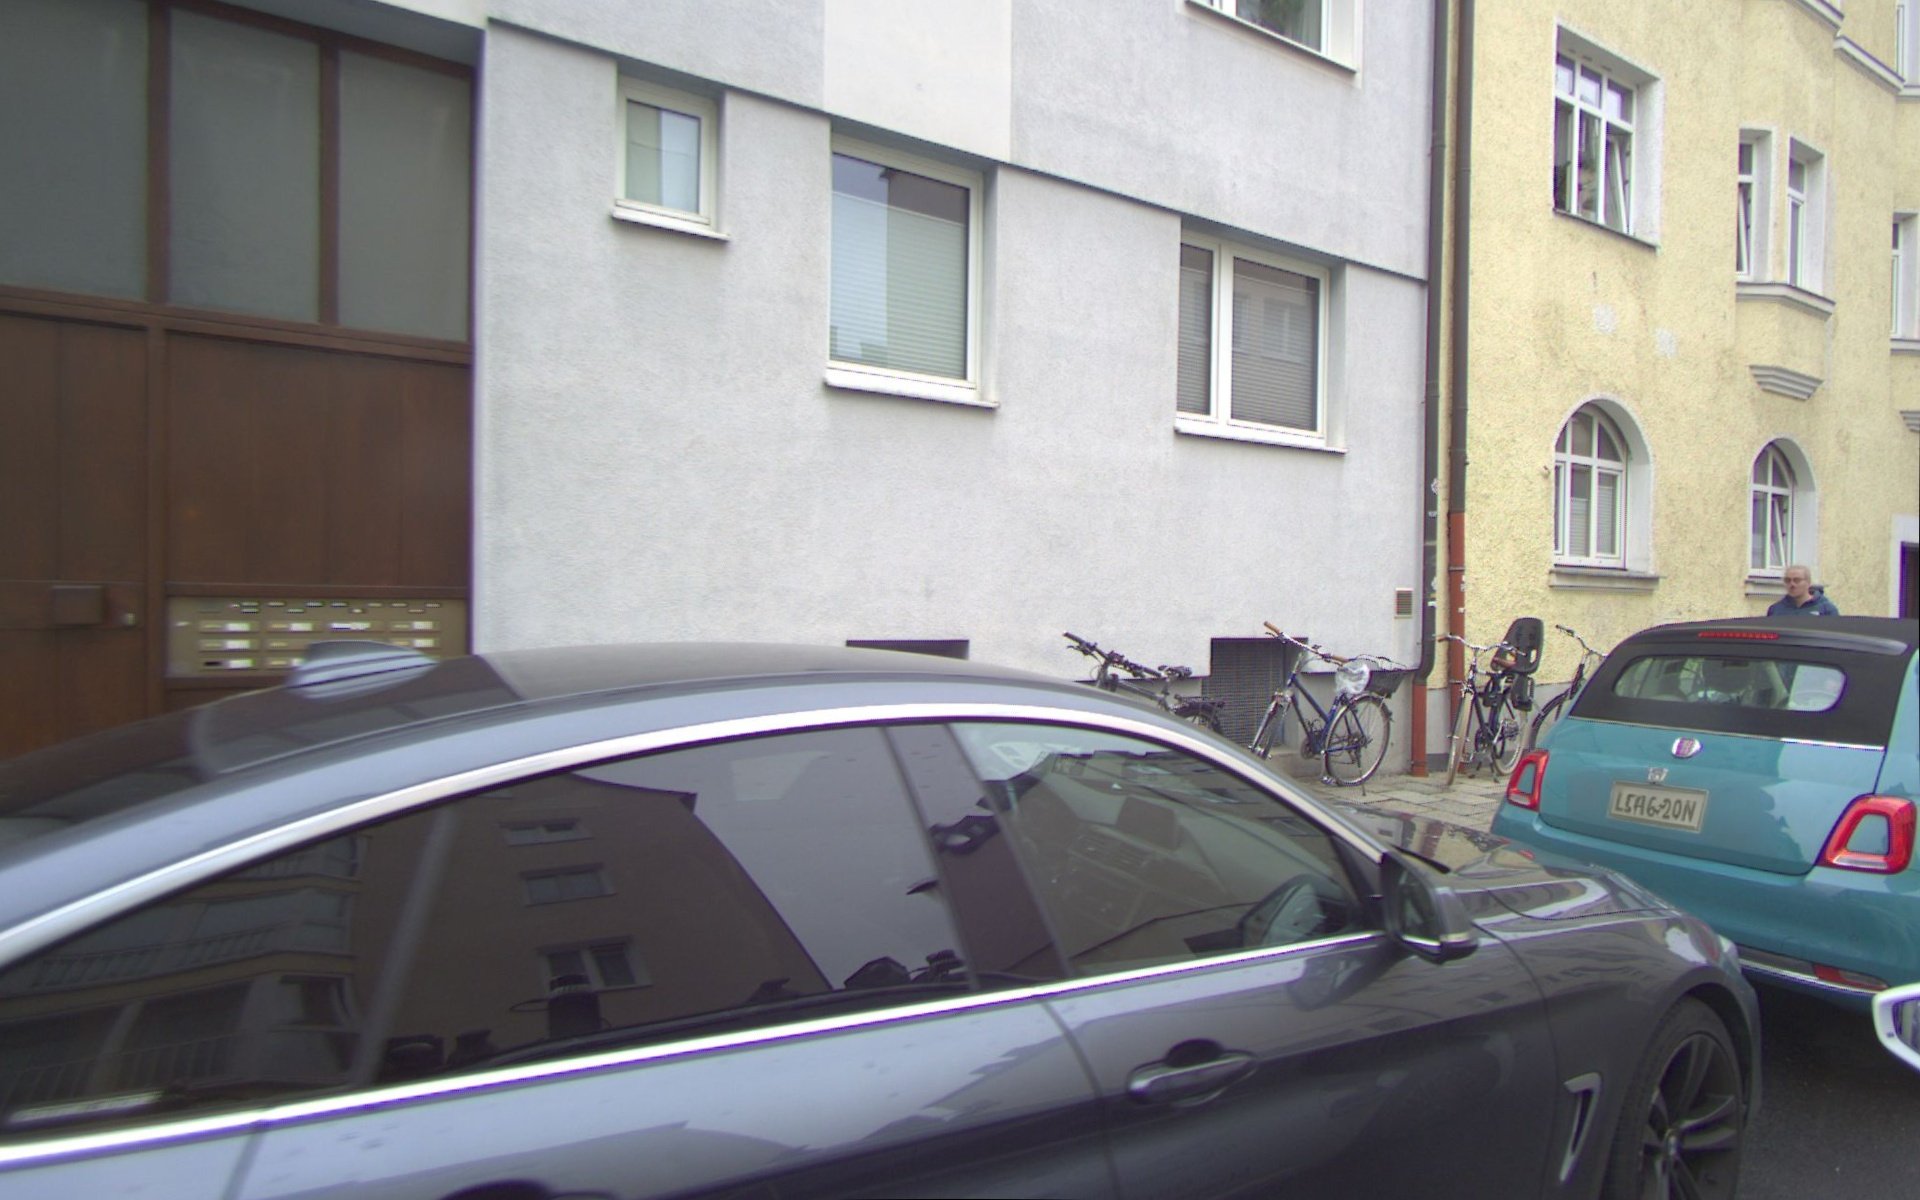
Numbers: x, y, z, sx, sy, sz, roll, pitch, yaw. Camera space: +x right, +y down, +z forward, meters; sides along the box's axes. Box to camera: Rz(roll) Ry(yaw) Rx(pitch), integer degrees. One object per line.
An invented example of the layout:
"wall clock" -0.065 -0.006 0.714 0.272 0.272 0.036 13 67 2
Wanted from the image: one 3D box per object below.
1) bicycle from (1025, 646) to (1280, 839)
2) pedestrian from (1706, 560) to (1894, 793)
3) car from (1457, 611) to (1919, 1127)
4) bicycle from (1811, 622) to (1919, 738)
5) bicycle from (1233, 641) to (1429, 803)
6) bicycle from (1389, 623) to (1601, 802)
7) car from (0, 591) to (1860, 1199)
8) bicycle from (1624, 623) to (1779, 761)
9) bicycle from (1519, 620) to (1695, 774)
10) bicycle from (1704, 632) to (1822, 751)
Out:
"bicycle" 1.212 0.823 6.219 1.552 1.044 0.542 2 1 -31
"pedestrian" 6.962 0.589 8.335 1.055 1.788 0.835 1 1 -30
"car" 3.934 0.821 4.339 3.362 1.480 1.556 1 -1 -28
"bicycle" 10.705 0.909 11.751 1.716 1.250 0.590 2 1 -31
"bicycle" 2.669 0.827 7.164 1.552 1.044 0.393 2 1 -31
"bicycle" 4.212 0.830 7.875 1.716 1.250 0.633 2 1 -31
"car" -0.113 0.727 2.068 4.202 1.405 1.802 1 -1 -31
"bicycle" 7.345 0.876 9.930 1.716 1.250 0.590 2 1 -31
"bicycle" 5.787 0.828 8.965 1.716 1.250 0.590 2 1 -31
"bicycle" 8.761 0.970 10.940 1.614 1.206 0.437 2 1 -31
